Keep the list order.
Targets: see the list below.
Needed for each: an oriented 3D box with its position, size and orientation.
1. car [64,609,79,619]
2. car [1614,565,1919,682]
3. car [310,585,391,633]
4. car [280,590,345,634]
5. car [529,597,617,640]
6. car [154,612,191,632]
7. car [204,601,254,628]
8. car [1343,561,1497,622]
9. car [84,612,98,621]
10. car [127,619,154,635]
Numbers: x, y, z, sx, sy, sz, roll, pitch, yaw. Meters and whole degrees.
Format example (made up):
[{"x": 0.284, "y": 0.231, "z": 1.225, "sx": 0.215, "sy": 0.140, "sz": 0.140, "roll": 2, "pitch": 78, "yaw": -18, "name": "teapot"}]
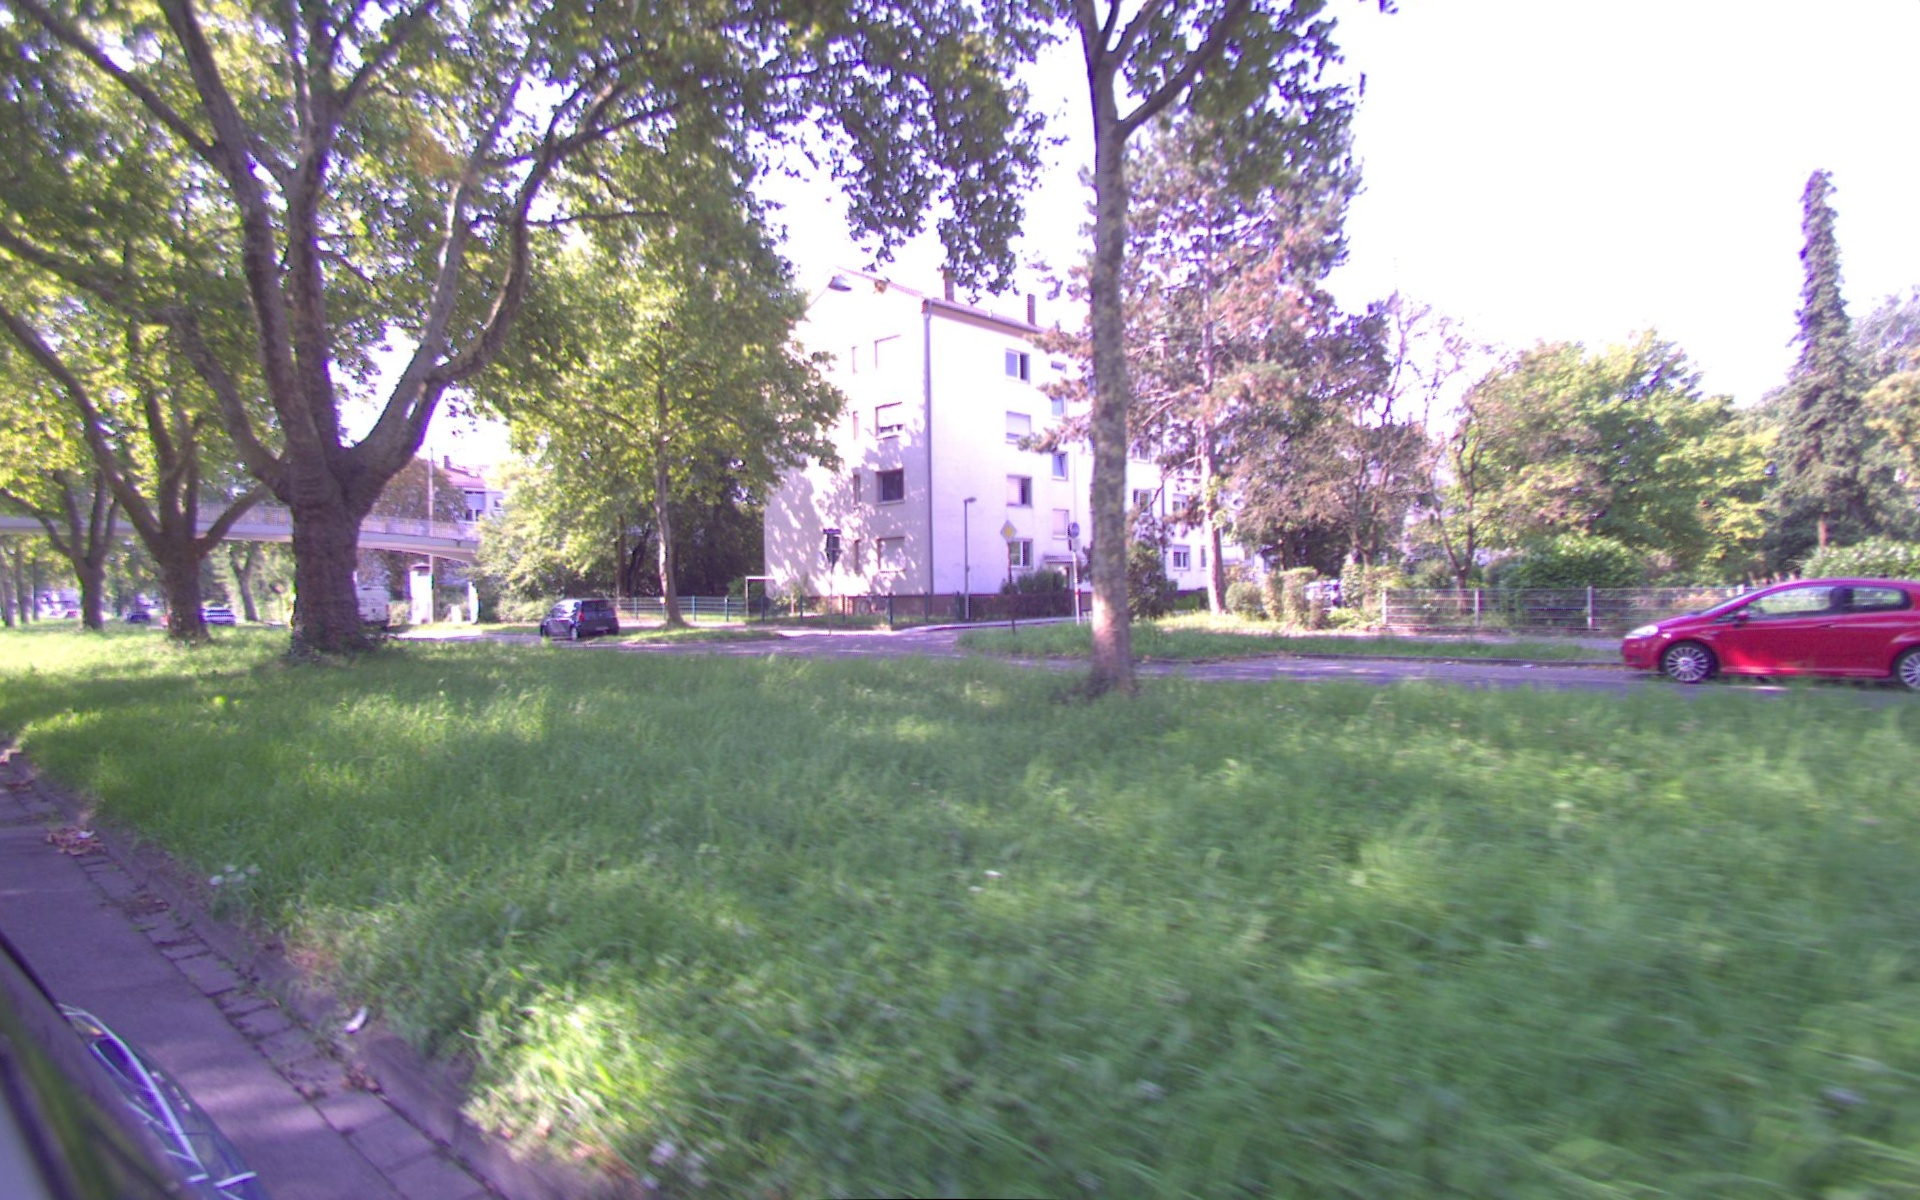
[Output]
[{"x": -159.740, "y": 2.536, "z": 181.938, "sx": 1.754, "sy": 1.628, "sz": 4.860, "roll": -2, "pitch": 1, "yaw": -44, "name": "car"}, {"x": 11.608, "y": 0.279, "z": 14.033, "sx": 4.064, "sy": 1.462, "sz": 1.522, "roll": 0, "pitch": 1, "yaw": 43, "name": "car"}, {"x": -34.006, "y": 0.486, "z": 56.407, "sx": 6.267, "sy": 2.447, "sz": 2.184, "roll": 0, "pitch": 3, "yaw": 44, "name": "car"}, {"x": -39.755, "y": 0.696, "z": 62.050, "sx": 2.182, "sy": 2.498, "sz": 6.065, "roll": -2, "pitch": 1, "yaw": -44, "name": "car"}, {"x": -14.600, "y": 0.669, "z": 38.121, "sx": 3.862, "sy": 1.544, "sz": 1.506, "roll": 0, "pitch": 1, "yaw": 42, "name": "car"}, {"x": -64.375, "y": 1.793, "z": 82.709, "sx": 4.068, "sy": 1.544, "sz": 1.673, "roll": -1, "pitch": 0, "yaw": 41, "name": "car"}, {"x": -49.418, "y": 0.990, "z": 68.392, "sx": 4.719, "sy": 1.733, "sz": 1.782, "roll": -1, "pitch": 0, "yaw": 43, "name": "car"}, {"x": 15.179, "y": -0.285, "z": 33.553, "sx": 1.823, "sy": 1.915, "sz": 4.268, "roll": -2, "pitch": 1, "yaw": -44, "name": "car"}, {"x": -153.114, "y": 2.931, "z": 178.368, "sx": 1.626, "sy": 1.374, "sz": 3.901, "roll": -2, "pitch": 1, "yaw": -45, "name": "car"}, {"x": -87.525, "y": 2.851, "z": 108.046, "sx": 1.767, "sy": 1.544, "sz": 4.458, "roll": -2, "pitch": 1, "yaw": -45, "name": "car"}]
